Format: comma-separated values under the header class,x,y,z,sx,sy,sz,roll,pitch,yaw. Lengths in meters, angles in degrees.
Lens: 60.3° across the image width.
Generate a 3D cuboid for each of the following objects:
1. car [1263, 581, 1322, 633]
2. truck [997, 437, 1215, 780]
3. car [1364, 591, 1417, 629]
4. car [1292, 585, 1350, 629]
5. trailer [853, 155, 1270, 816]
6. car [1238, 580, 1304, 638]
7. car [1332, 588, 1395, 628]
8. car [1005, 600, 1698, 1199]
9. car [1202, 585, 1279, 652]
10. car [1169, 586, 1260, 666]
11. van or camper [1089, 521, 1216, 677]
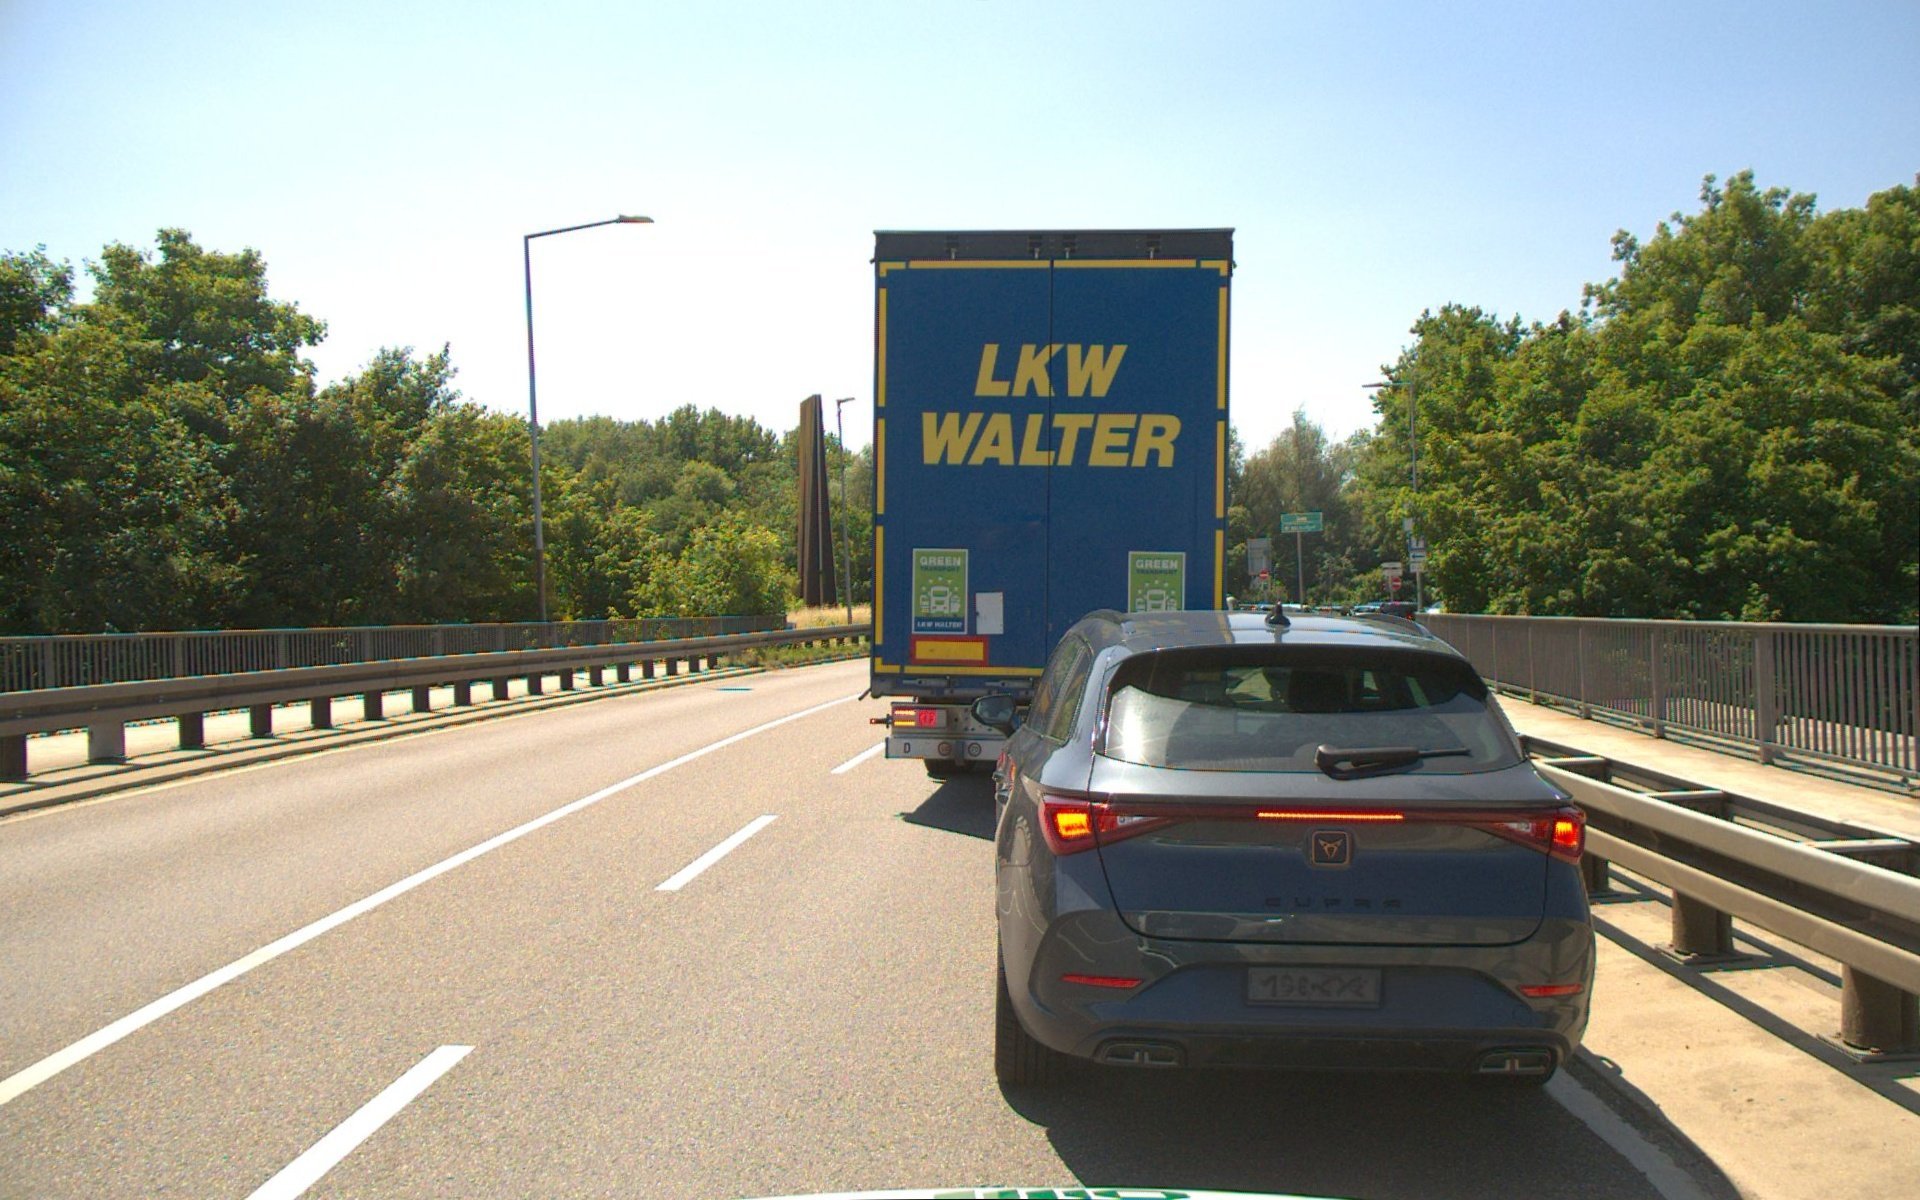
class,x,y,z,sx,sy,sz,roll,pitch,yaw
car,12.431,0.233,61.683,1.685,1.876,4.002,0,0,18
truck,2.314,0.082,25.077,2.843,4.496,6.560,0,0,7
car,21.010,0.494,80.671,1.653,1.791,3.995,0,-1,28
car,14.950,0.305,68.367,1.651,1.791,3.999,0,-1,22
trailer,1.418,-0.815,17.587,2.843,4.496,12.442,0,0,7
car,10.470,0.275,55.539,1.685,1.876,4.002,0,0,18
car,18.254,0.372,74.640,1.954,1.603,3.996,2,-1,26
car,0.983,0.745,5.922,1.642,1.481,3.959,0,0,1
car,8.076,0.491,47.423,1.684,1.834,4.002,0,0,17
car,6.371,0.591,41.079,1.684,1.876,4.002,0,1,17
van or camper,4.035,-0.029,33.670,2.108,2.865,6.393,0,0,11
